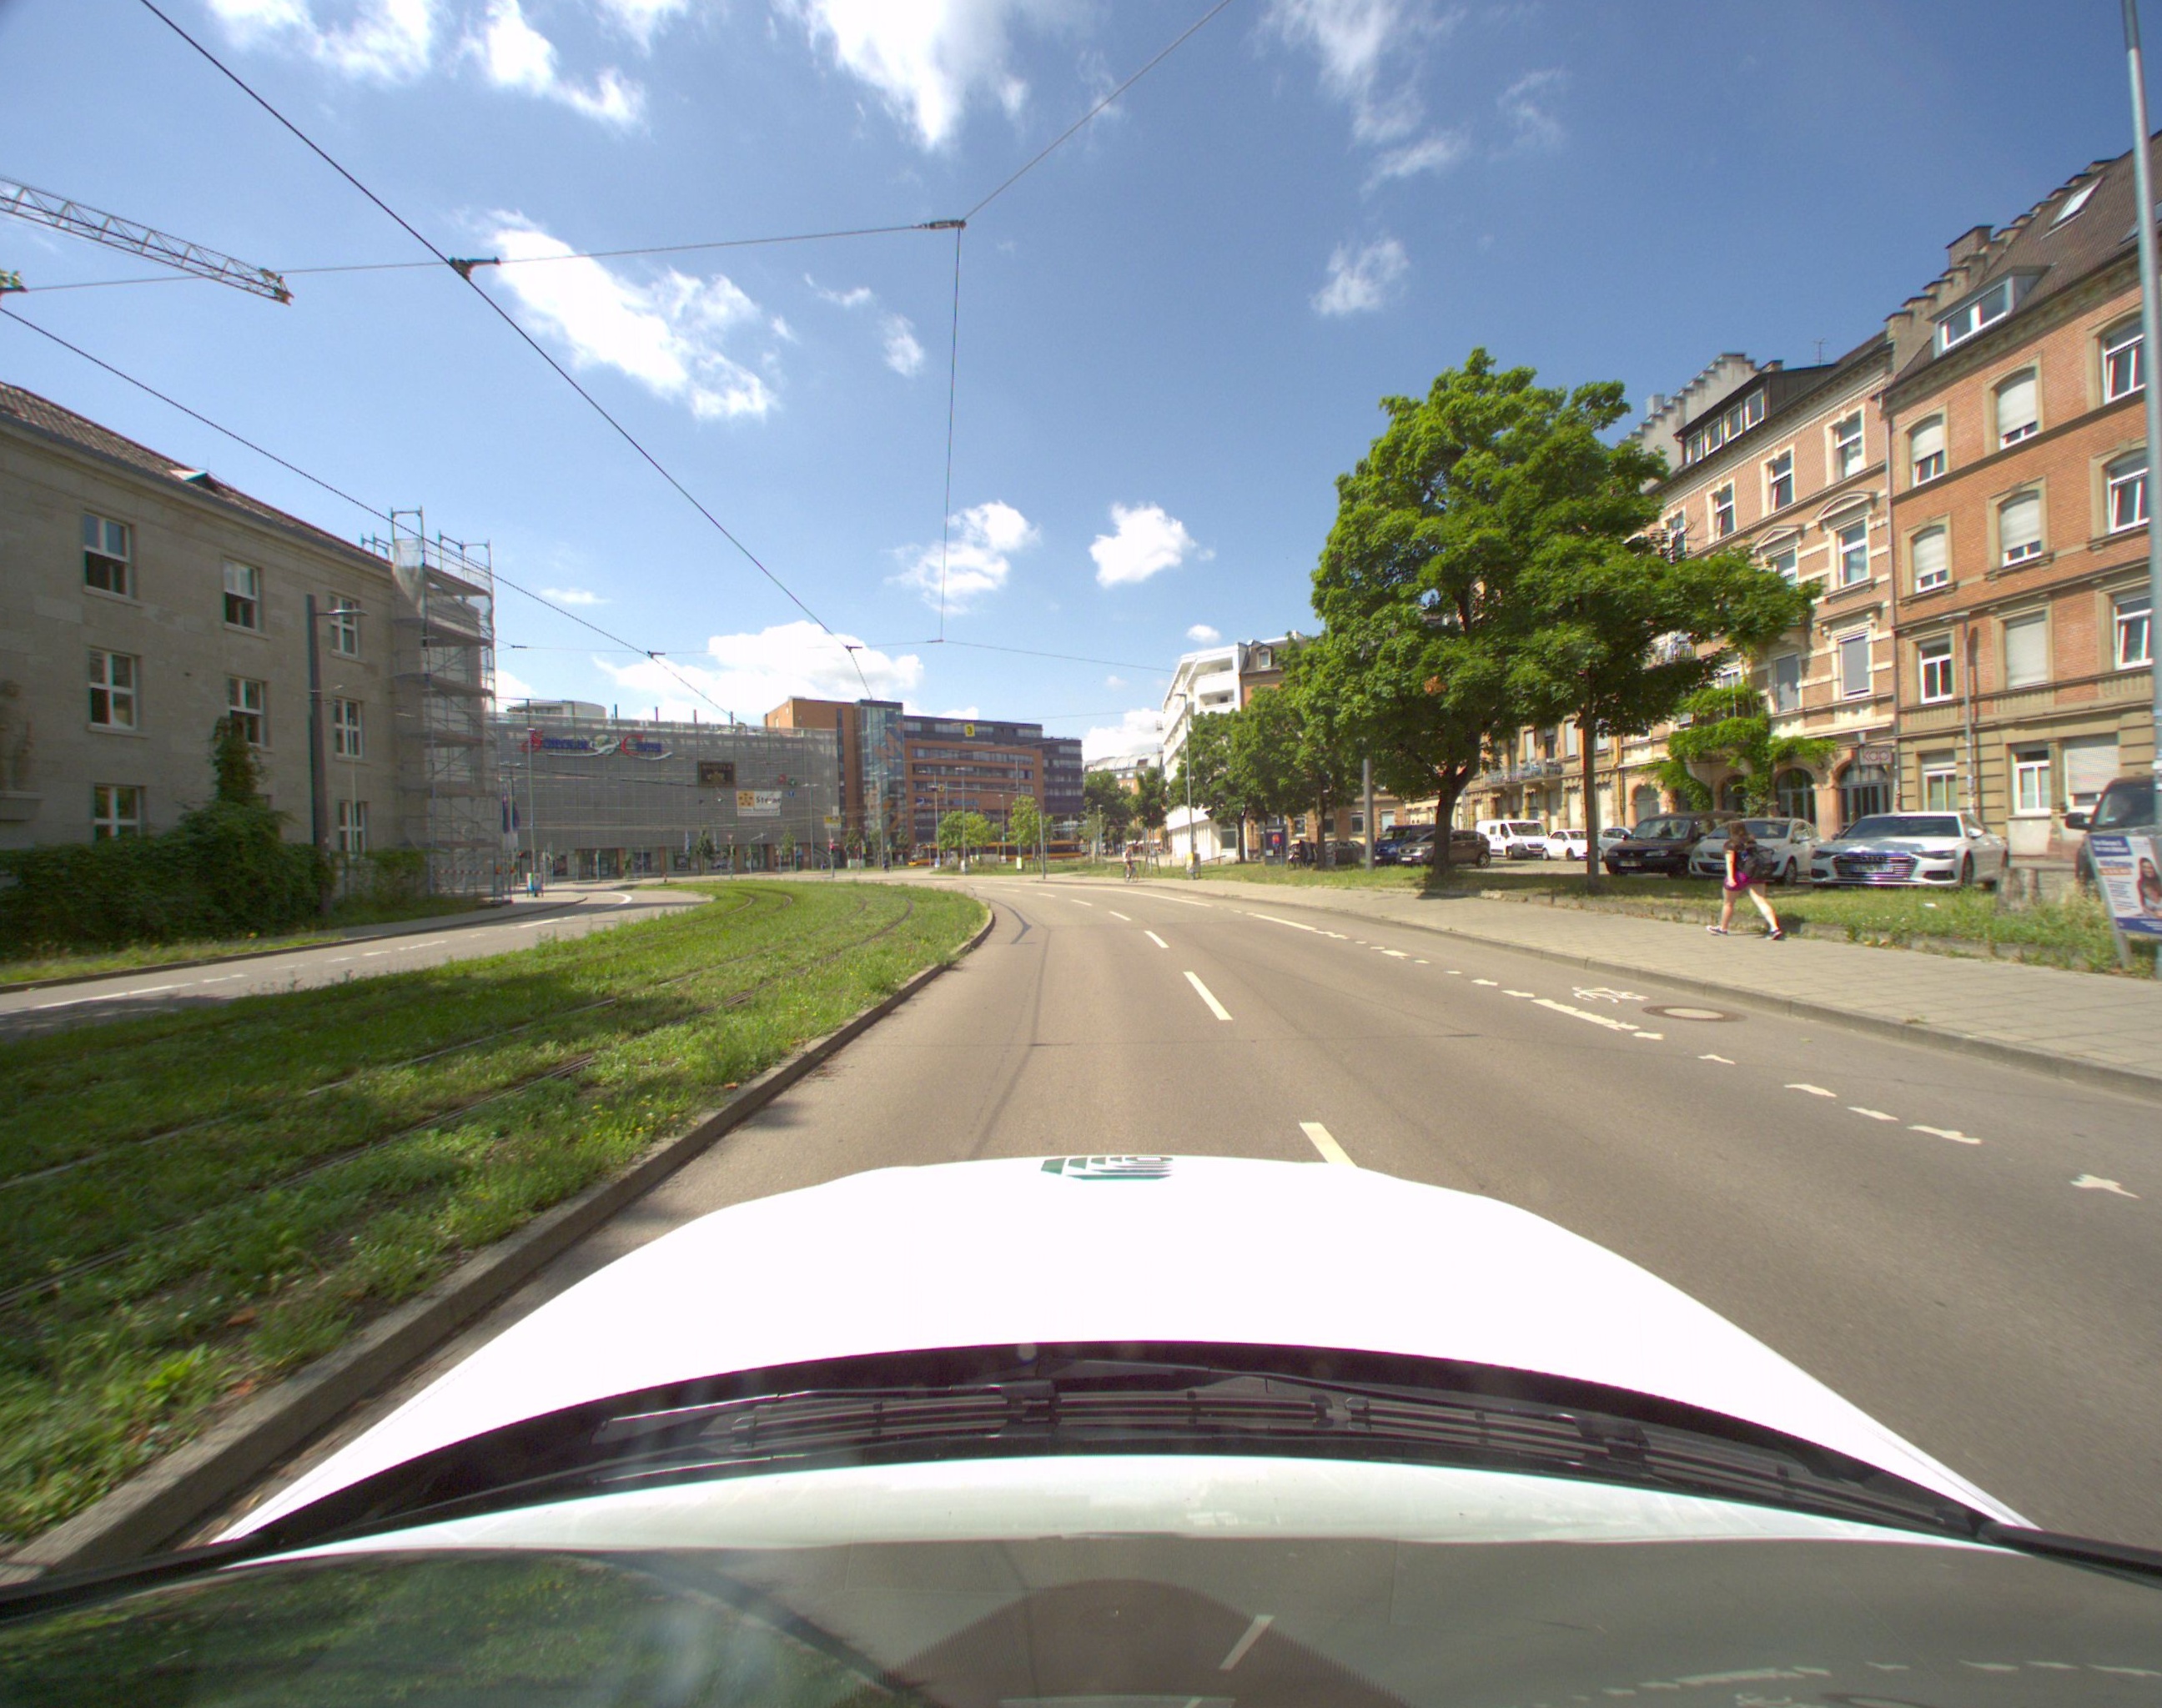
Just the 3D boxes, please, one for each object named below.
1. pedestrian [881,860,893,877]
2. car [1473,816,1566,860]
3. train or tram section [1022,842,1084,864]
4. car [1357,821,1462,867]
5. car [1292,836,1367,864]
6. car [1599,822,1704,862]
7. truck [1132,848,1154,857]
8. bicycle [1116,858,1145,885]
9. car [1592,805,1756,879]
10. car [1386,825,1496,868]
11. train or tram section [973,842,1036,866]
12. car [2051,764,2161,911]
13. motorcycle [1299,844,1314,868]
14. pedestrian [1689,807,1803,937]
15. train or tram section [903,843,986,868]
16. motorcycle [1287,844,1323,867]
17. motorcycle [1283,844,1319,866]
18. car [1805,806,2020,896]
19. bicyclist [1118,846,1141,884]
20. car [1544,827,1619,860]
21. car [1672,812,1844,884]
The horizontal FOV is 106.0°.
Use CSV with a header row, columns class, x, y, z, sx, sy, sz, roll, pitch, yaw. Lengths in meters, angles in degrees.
class,x,y,z,sx,sy,sz,roll,pitch,yaw
pedestrian,-21.283,1.594,89.272,0.907,1.702,0.813,-3,0,25
car,23.191,-0.799,43.371,2.103,2.178,5.395,-1,0,1
train or tram section,-4.739,-0.192,142.734,3.026,3.621,12.715,-2,0,40
car,14.743,-0.455,36.509,4.644,1.927,1.898,-1,0,-30
car,14.855,-0.243,48.663,4.271,1.427,1.789,-3,0,-29
car,23.241,-0.455,33.354,1.653,1.492,3.854,-1,0,1
truck,14.950,-0.367,198.166,2.011,2.086,5.457,-1,0,-41
bicycle,2.429,0.840,40.218,0.696,1.242,1.828,-5,1,-18
car,15.269,-0.321,20.936,4.162,1.741,1.834,-1,0,-30
car,14.821,-0.329,33.518,4.183,1.656,1.900,-1,0,-26
train or tram section,-12.507,-0.039,133.808,3.026,3.603,11.060,-2,0,42
car,14.567,-0.239,10.791,4.385,1.741,1.832,-1,0,-36
motorcycle,11.519,0.087,41.622,0.633,1.167,1.913,-2,0,13
pedestrian,8.642,0.224,10.624,0.698,1.592,0.905,-2,0,0
train or tram section,-20.665,0.141,124.602,3.185,3.599,13.584,-2,0,41
motorcycle,12.163,0.064,44.271,1.778,1.167,0.639,-2,0,-1
motorcycle,12.166,0.057,45.085,1.778,1.167,0.639,-2,0,-1
car,14.982,-0.082,14.602,4.712,1.380,1.833,-1,0,-34
bicyclist,2.408,0.545,40.212,0.696,1.824,0.950,-5,1,-18
car,23.301,-0.488,38.034,1.557,1.403,3.354,-3,0,4
car,14.873,-0.137,17.831,4.102,1.405,1.832,-1,0,-35
